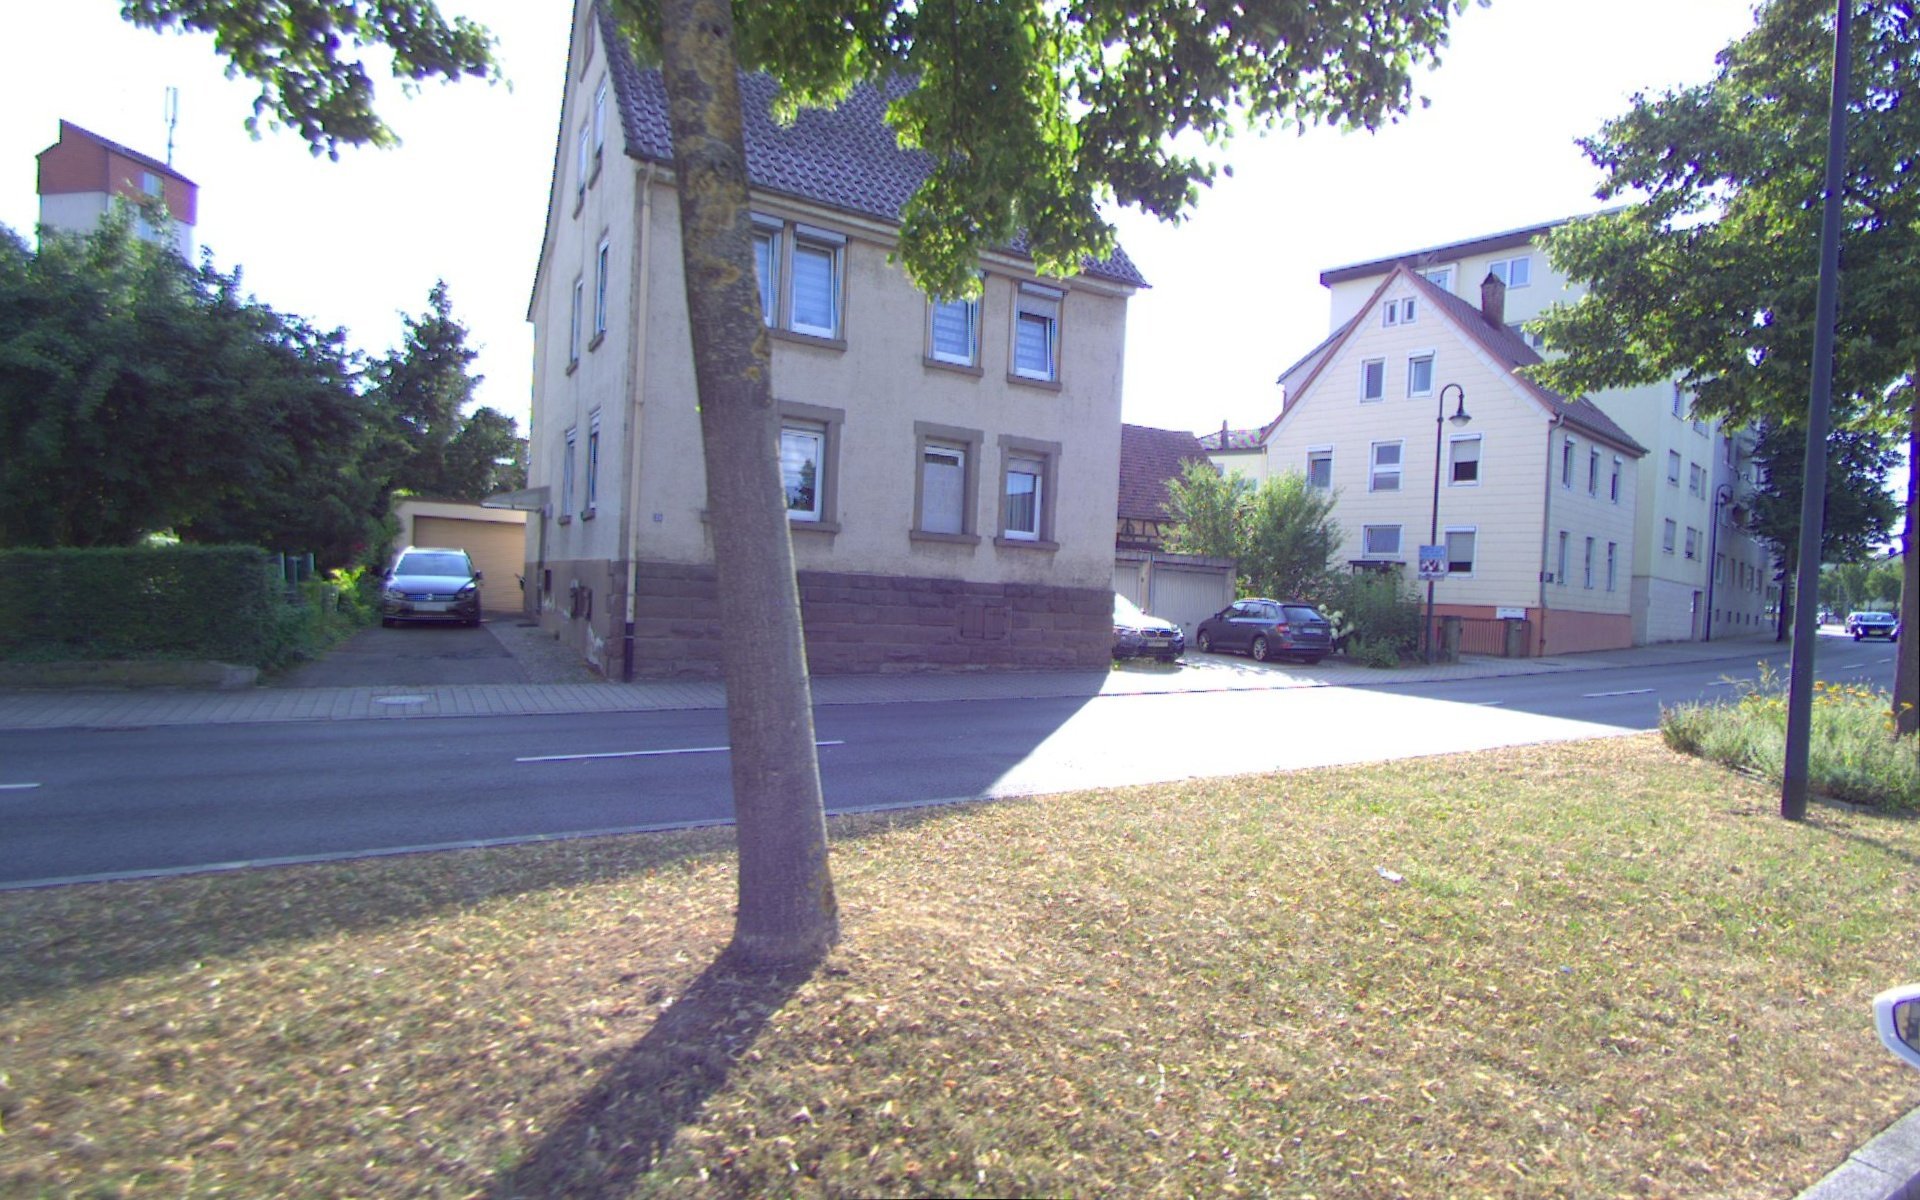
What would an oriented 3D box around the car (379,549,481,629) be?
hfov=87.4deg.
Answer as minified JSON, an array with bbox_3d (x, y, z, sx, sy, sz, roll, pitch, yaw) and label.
[{"bbox_3d":[-10.989,-0.257,21.035,1.664,1.506,3.684,1,1,-25],"label":"car"}]

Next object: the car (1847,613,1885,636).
[{"bbox_3d":[63.972,1.712,70.921,3.755,1.506,1.591,1,0,-42],"label":"car"}]

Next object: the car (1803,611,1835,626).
[{"bbox_3d":[110.216,2.394,128.945,2.183,1.792,4.447,1,0,28],"label":"car"}]

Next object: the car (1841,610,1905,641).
[{"bbox_3d":[50.587,1.397,55.617,4.287,1.506,1.924,1,3,-39],"label":"car"}]

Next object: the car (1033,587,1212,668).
[{"bbox_3d":[3.439,0.540,22.200,1.981,1.506,4.339,2,1,-21],"label":"car"}]

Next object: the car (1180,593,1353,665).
[{"bbox_3d":[7.525,0.666,25.129,1.916,1.506,4.341,1,1,-19],"label":"car"}]
